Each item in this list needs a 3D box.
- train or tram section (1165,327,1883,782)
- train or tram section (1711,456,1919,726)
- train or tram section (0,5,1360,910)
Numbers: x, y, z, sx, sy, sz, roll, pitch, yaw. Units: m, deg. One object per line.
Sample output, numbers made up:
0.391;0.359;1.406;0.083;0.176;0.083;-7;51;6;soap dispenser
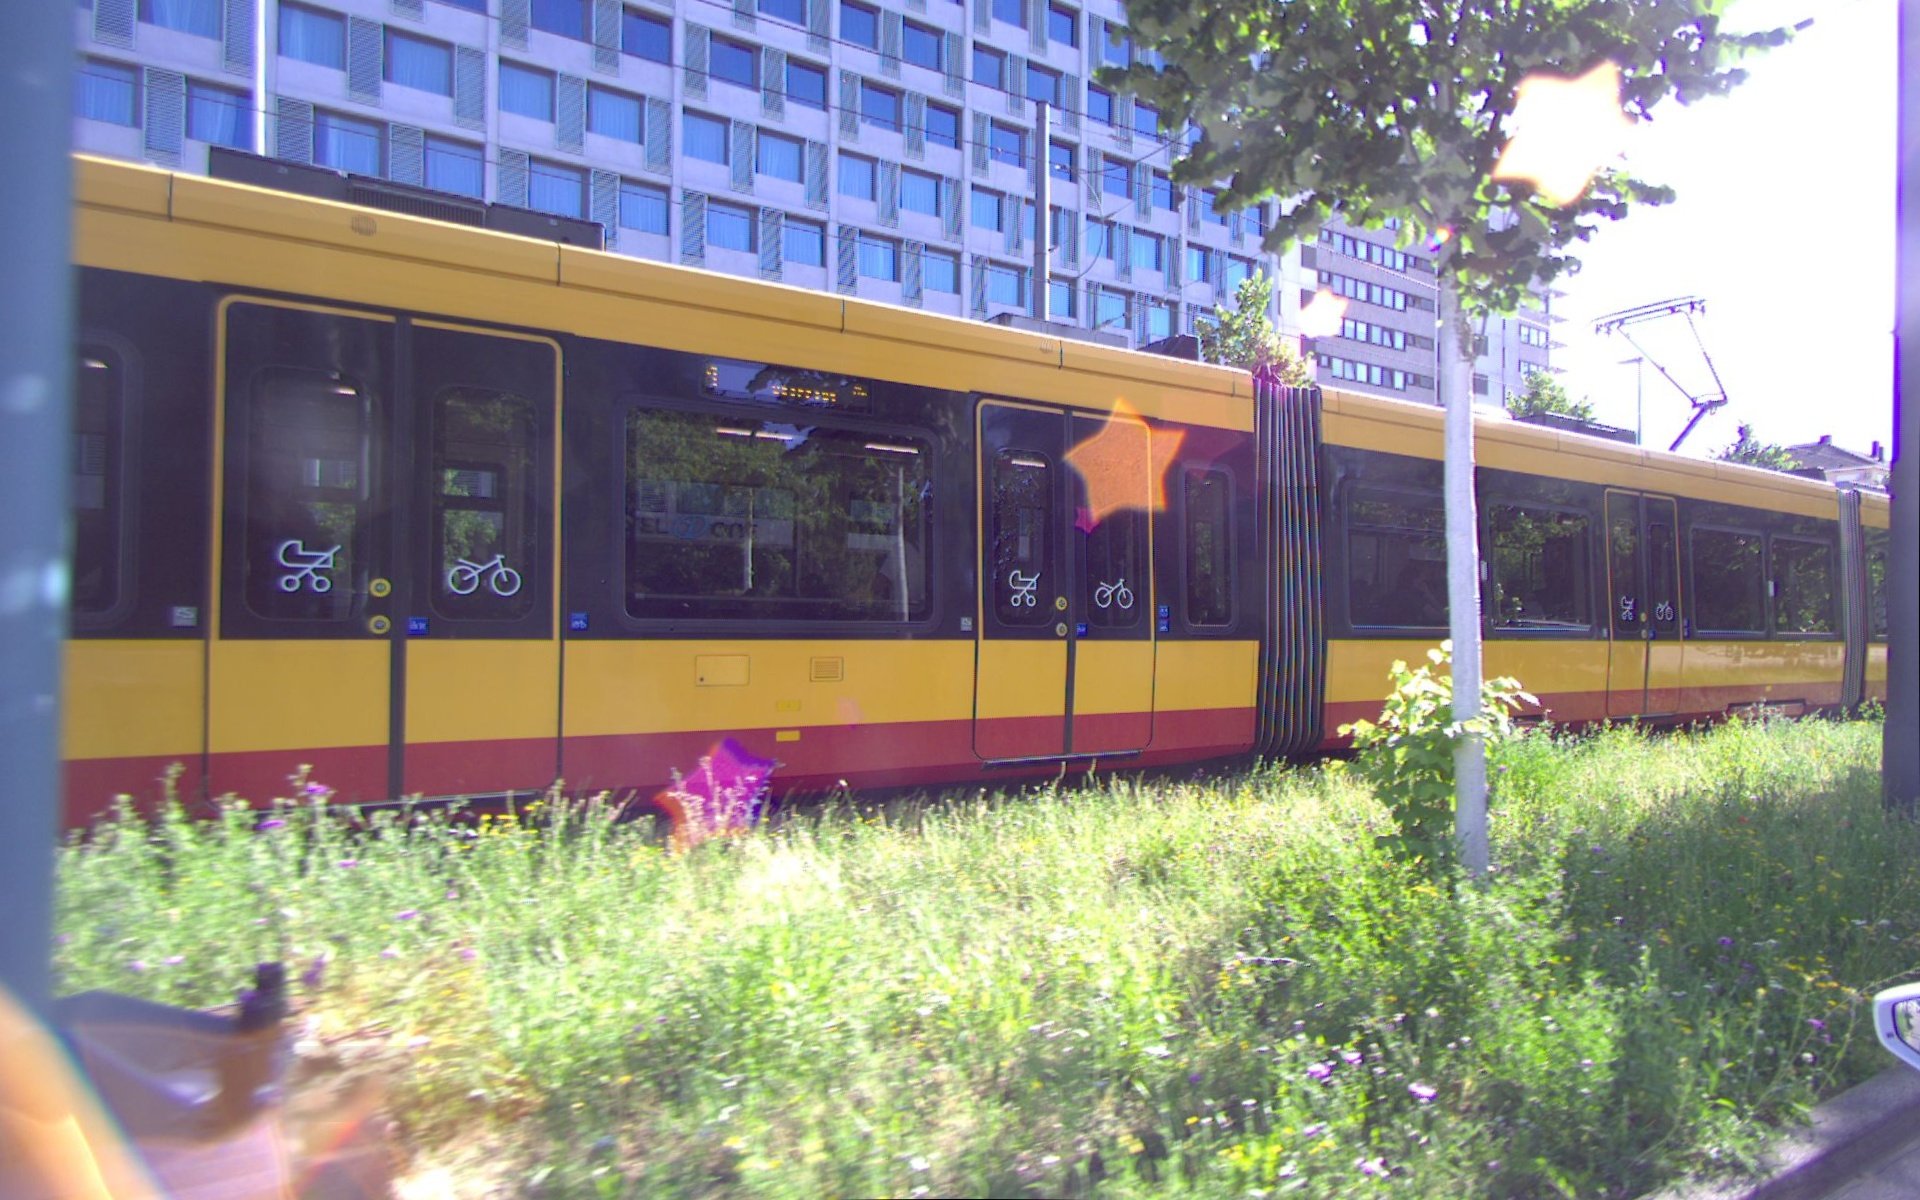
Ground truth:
7.377;-0.227;11.882;11.183;3.718;1.984;2;0;-30;train or tram section
17.166;0.027;17.580;11.544;3.718;1.984;2;0;-30;train or tram section
-3.293;-0.550;5.649;13.983;3.718;1.984;2;0;-30;train or tram section
